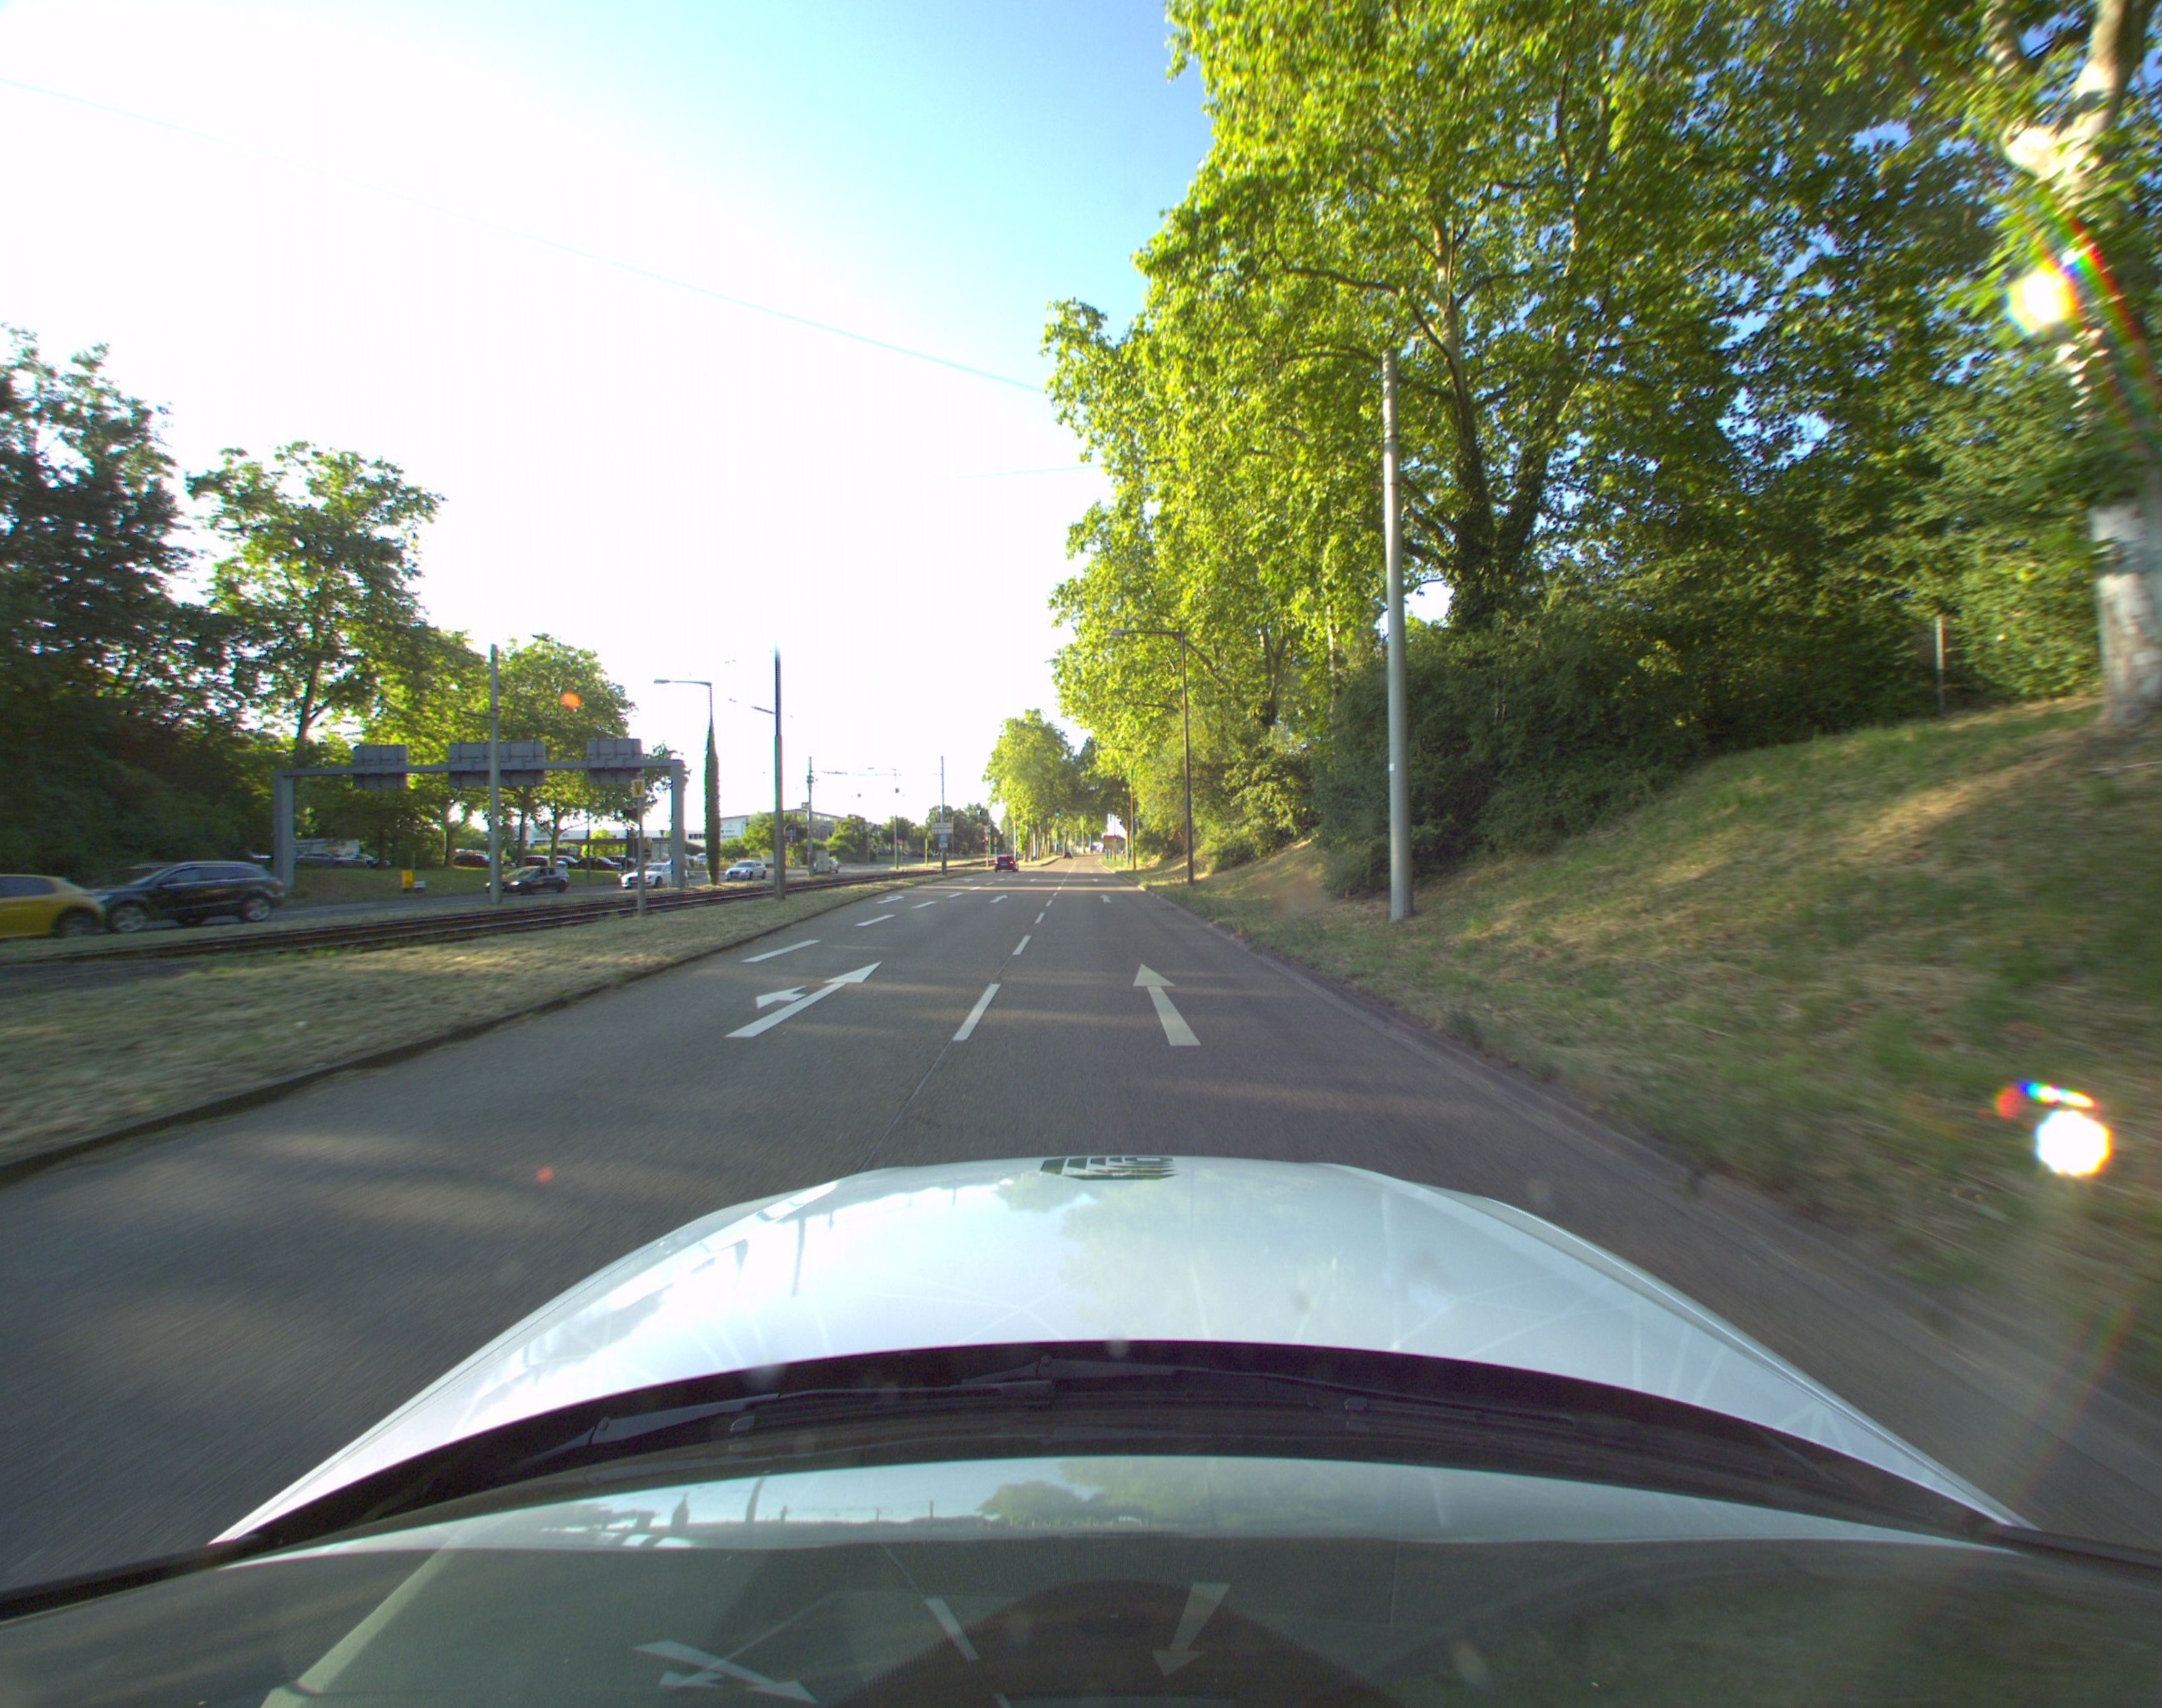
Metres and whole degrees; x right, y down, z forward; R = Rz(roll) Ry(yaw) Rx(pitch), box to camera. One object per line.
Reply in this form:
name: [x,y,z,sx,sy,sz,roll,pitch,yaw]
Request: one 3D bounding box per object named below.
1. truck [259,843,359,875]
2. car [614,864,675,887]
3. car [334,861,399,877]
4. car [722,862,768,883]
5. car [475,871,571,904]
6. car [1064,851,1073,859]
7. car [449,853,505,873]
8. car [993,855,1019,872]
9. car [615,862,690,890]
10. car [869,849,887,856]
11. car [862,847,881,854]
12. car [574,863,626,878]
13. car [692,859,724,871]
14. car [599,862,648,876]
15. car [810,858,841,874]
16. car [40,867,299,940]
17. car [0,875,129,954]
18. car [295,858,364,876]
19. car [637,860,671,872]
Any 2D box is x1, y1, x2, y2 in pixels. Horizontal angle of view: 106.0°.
truck: [-83.556,0.547,88.249,8.260,3.388,2.735,-1,0,0]
car: [-30.930,1.493,57.892,1.833,1.481,4.598,-1,0,-1]
car: [-61.119,1.281,69.663,3.976,1.260,1.672,-1,0,-2]
car: [-24.600,1.325,59.742,1.649,1.416,4.256,-1,0,-1]
car: [-28.191,1.655,41.314,1.833,1.481,4.435,-1,0,-1]
car: [-2.477,0.201,163.467,1.786,1.403,3.689,-1,0,1]
car: [-58.849,0.844,79.425,3.970,1.860,2.002,-1,0,3]
car: [-6.552,0.818,71.377,1.786,1.403,3.689,-1,0,1]
car: [-24.110,1.190,46.043,1.833,1.416,4.597,-2,0,-1]
car: [-41.152,-0.341,165.127,3.136,1.391,1.453,-1,0,-4]
car: [-37.915,-0.637,147.326,3.136,1.391,1.453,-1,0,-4]
car: [-47.024,1.592,79.613,4.034,1.387,1.787,-1,0,6]
car: [-45.594,1.330,99.566,1.833,1.442,4.003,-1,0,3]
car: [-46.554,1.505,82.899,4.034,1.387,1.787,-1,0,6]
car: [-24.289,1.153,77.517,1.648,1.416,4.258,-1,0,0]
car: [-23.874,1.221,21.654,1.832,1.655,4.437,-1,0,1]
car: [-20.898,1.165,15.041,1.831,1.416,4.020,-2,0,2]
car: [-61.221,1.063,66.385,3.976,1.372,1.672,-1,0,-2]
car: [-52.071,1.477,99.336,1.833,1.442,4.003,-1,0,3]
